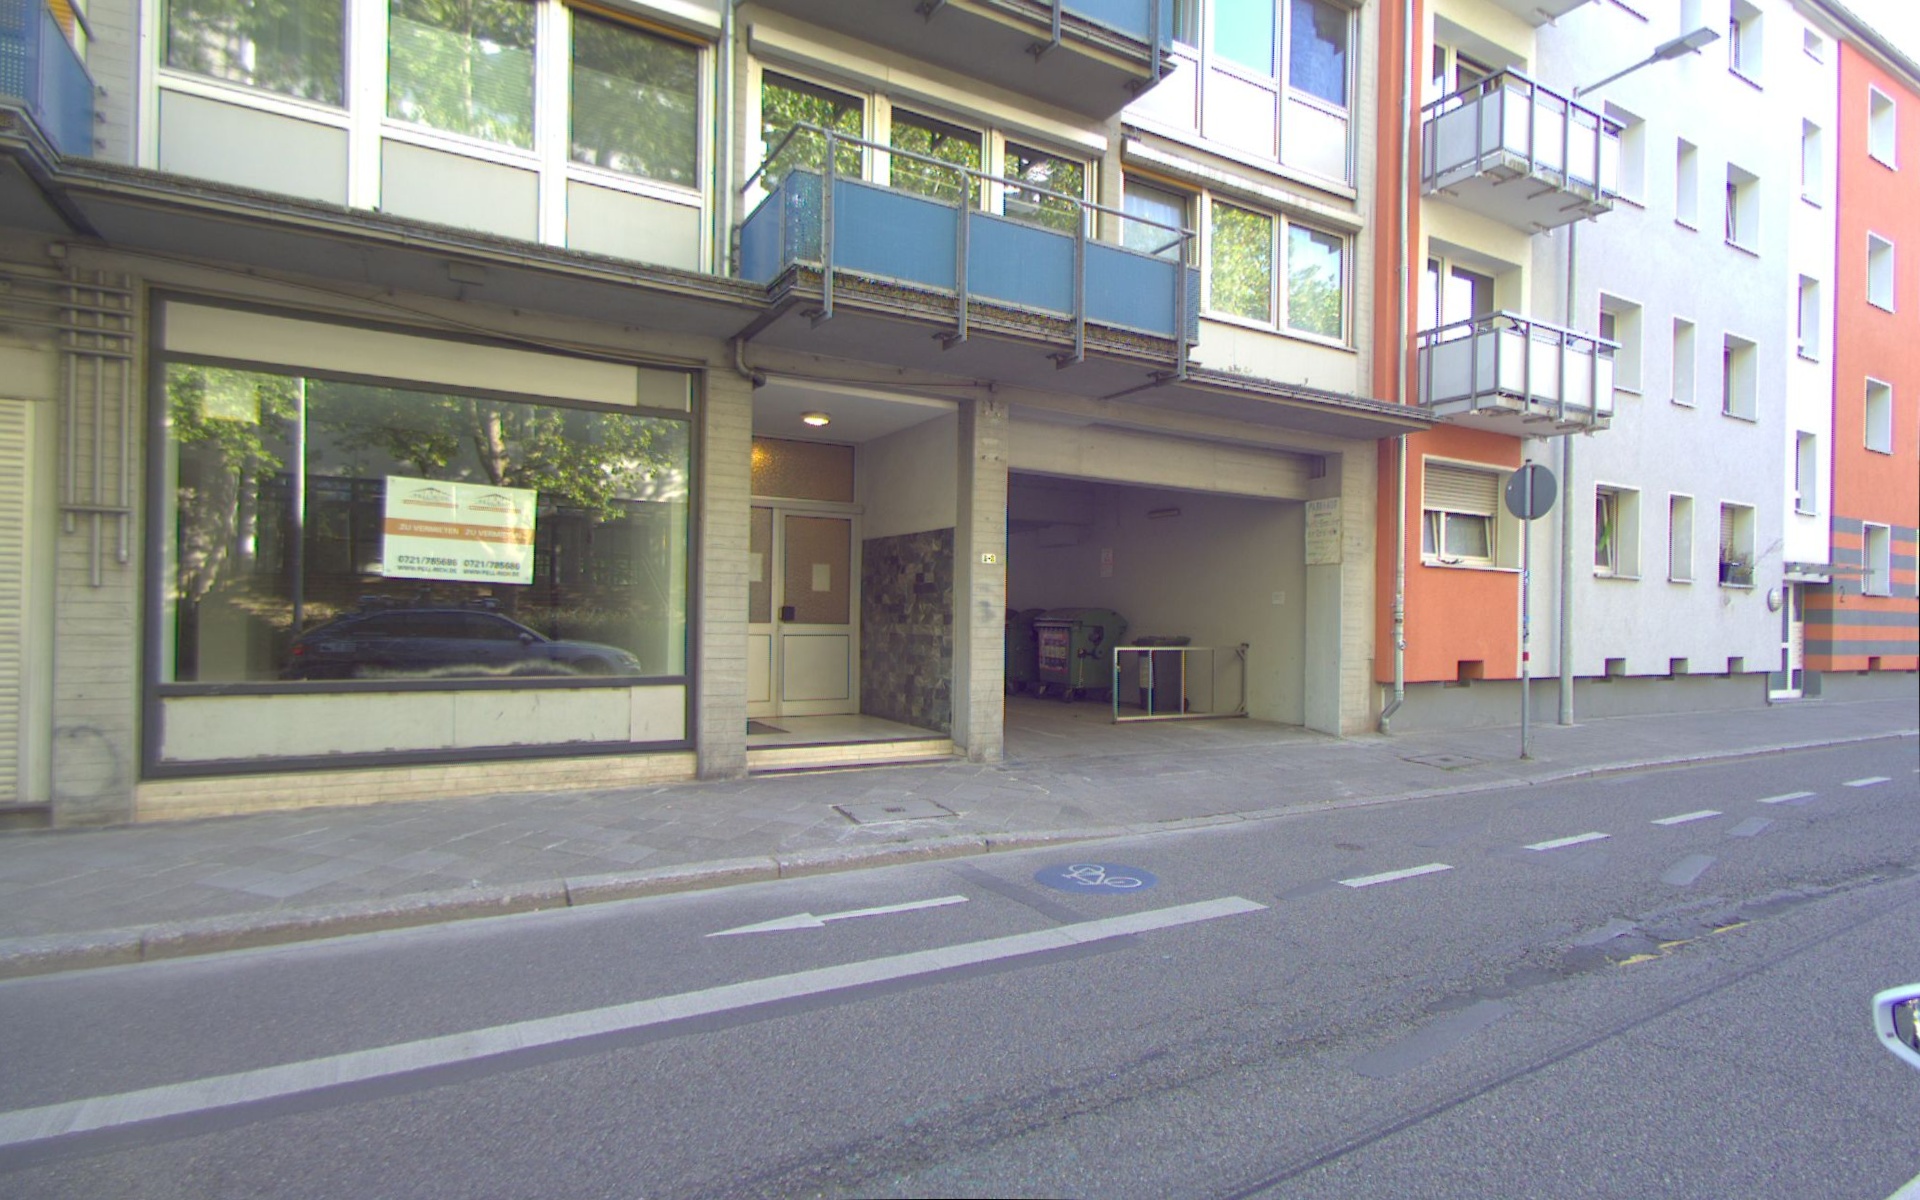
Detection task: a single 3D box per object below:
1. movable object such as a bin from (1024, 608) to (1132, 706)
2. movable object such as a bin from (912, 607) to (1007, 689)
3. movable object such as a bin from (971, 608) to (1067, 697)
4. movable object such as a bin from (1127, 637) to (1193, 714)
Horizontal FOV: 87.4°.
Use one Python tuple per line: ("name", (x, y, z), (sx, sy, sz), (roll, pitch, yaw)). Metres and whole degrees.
("movable object such as a bin", (1.845, 0.863, 15.854), (1.128, 1.449, 1.342), (1, 0, -28))
("movable object such as a bin", (-0.034, 0.867, 18.880), (1.119, 1.449, 1.666), (1, 0, -28))
("movable object such as a bin", (0.994, 0.869, 17.177), (1.119, 1.449, 1.322), (1, 0, -28))
("movable object such as a bin", (2.895, 1.076, 14.535), (0.695, 1.055, 0.593), (2, 0, -30))
